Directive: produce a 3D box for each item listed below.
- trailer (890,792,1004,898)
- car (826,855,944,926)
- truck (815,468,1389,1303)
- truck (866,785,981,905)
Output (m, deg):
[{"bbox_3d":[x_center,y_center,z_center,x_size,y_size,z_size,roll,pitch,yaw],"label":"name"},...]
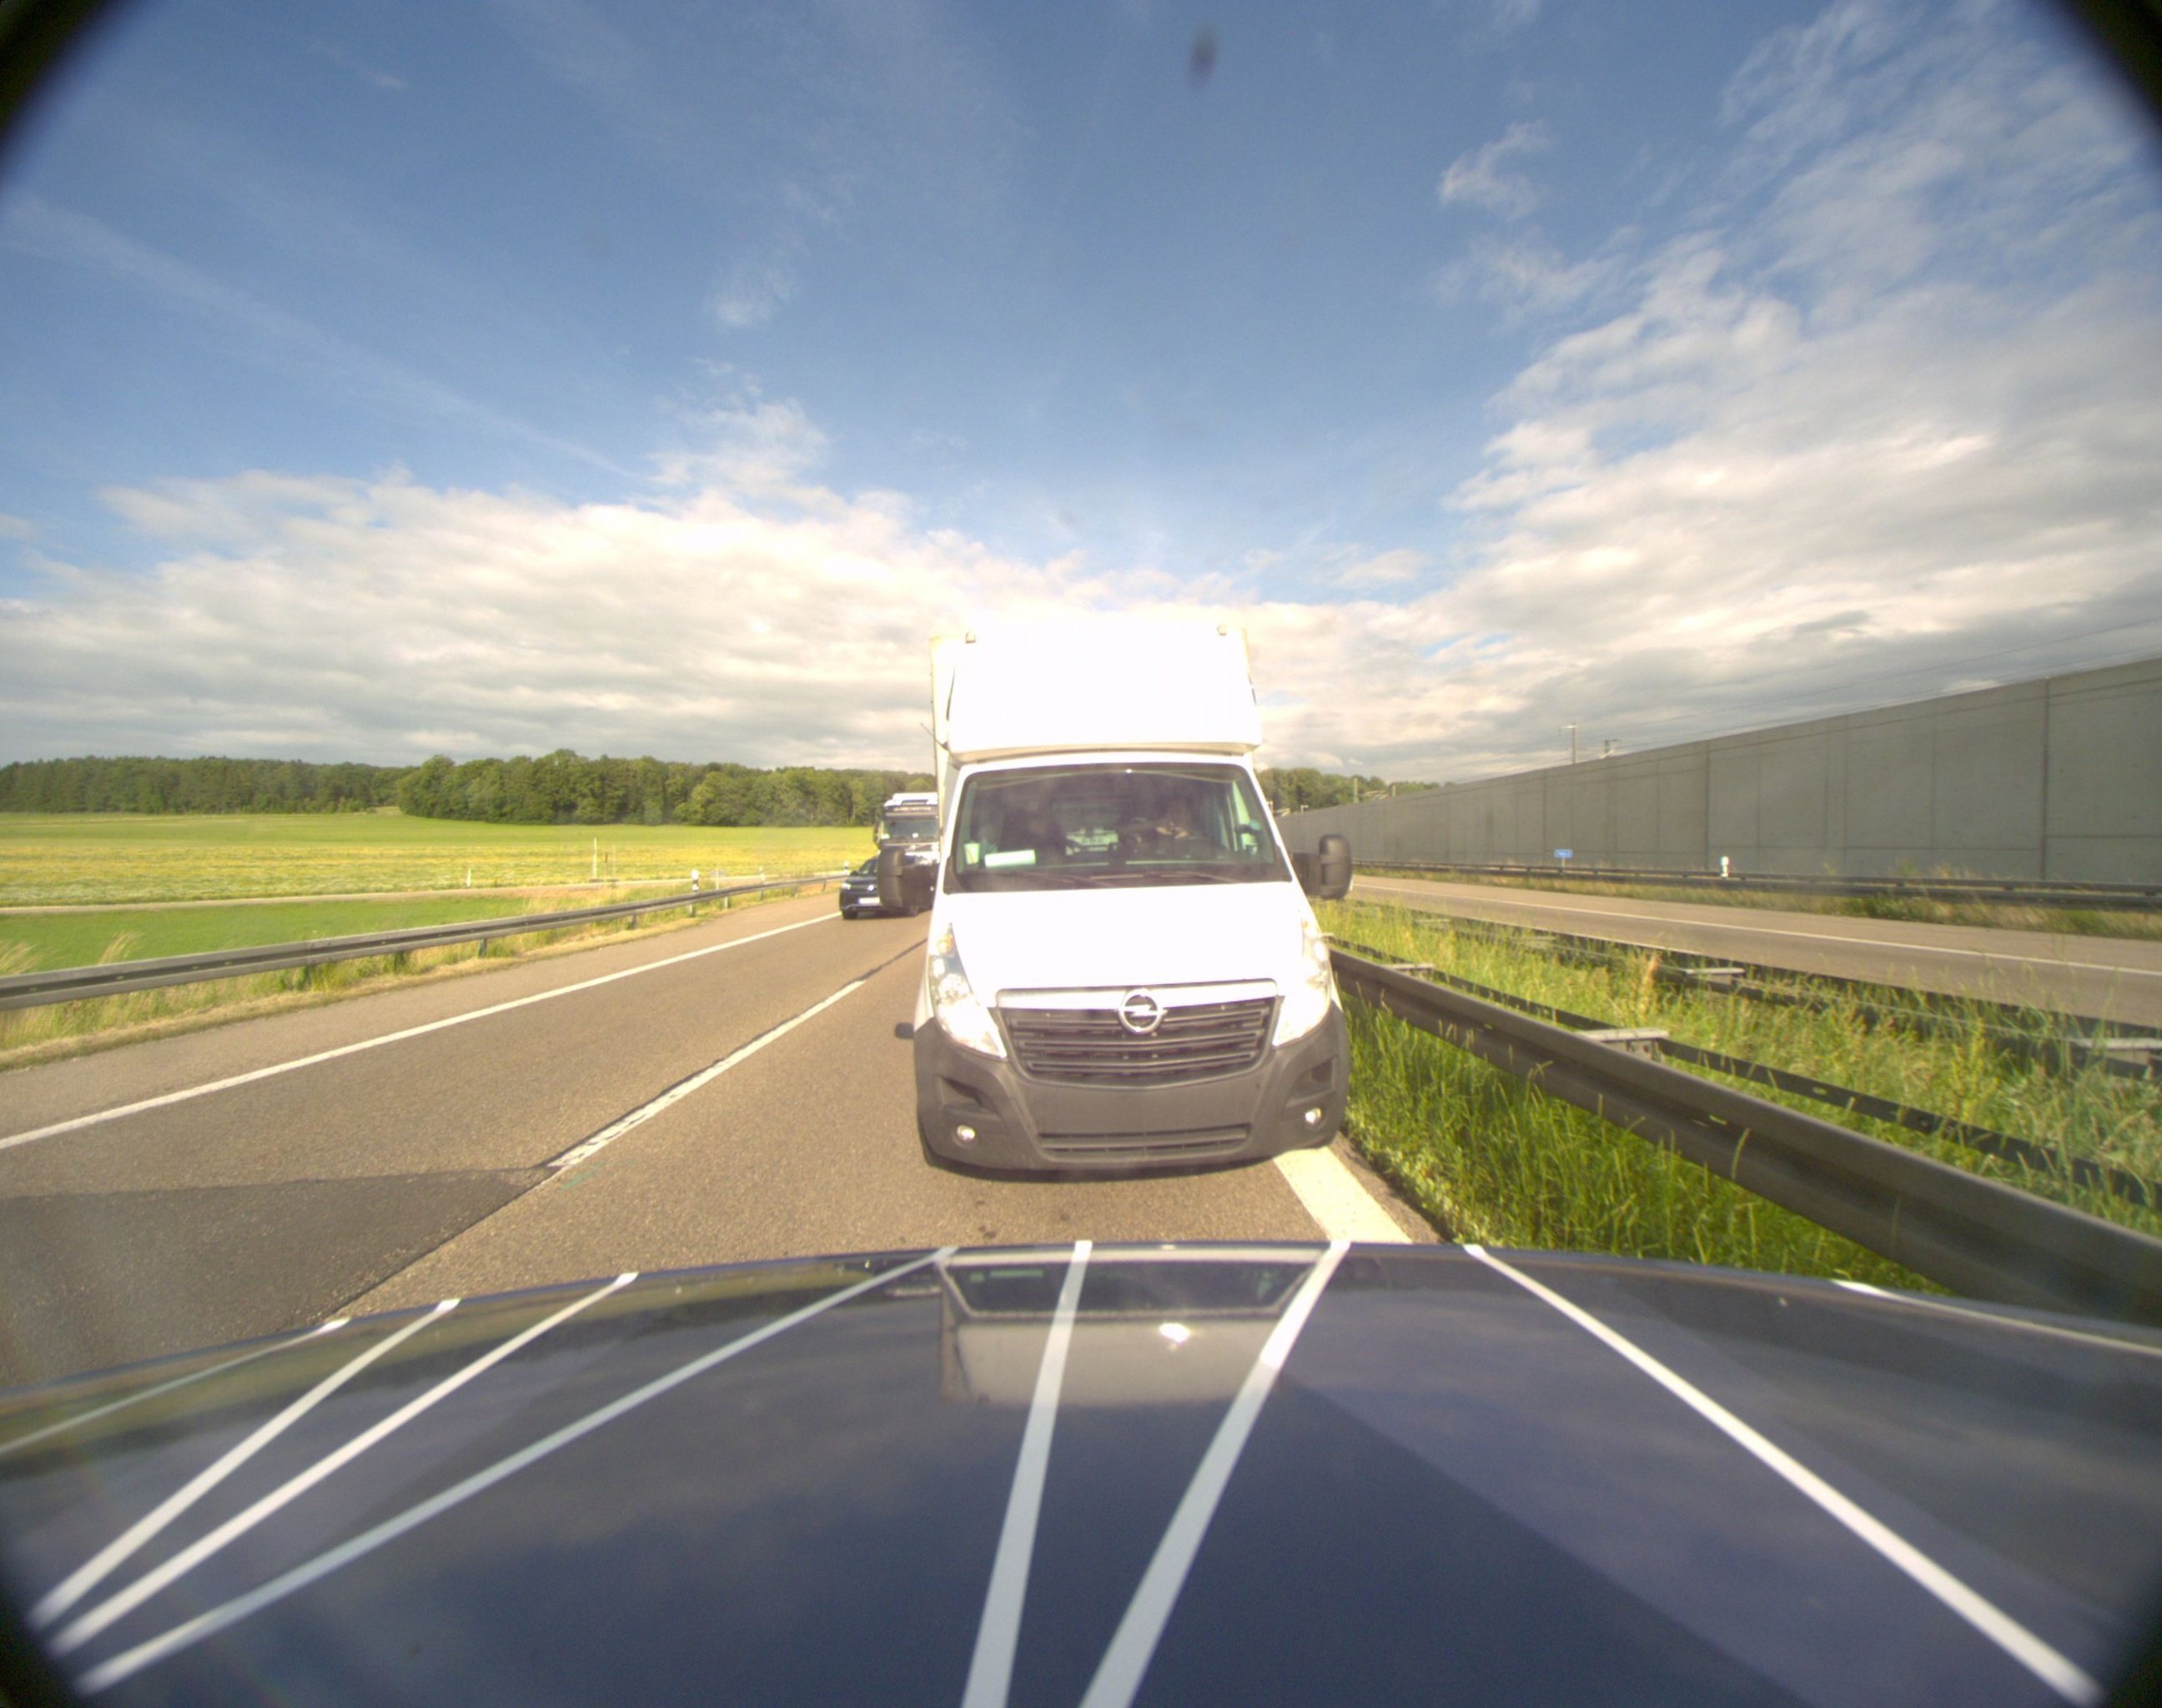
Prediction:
[{"bbox_3d":[-5.704,-0.409,34.965,2.826,3.959,12.127,-2,1,1],"label":"trailer"},{"bbox_3d":[-5.135,0.890,20.544,1.998,1.587,4.118,-2,1,1],"label":"car"},{"bbox_3d":[0.140,0.093,6.772,2.060,3.088,7.803,-2,1,1],"label":"truck"},{"bbox_3d":[-5.783,-0.338,29.111,2.842,3.967,6.500,-2,1,1],"label":"truck"}]
